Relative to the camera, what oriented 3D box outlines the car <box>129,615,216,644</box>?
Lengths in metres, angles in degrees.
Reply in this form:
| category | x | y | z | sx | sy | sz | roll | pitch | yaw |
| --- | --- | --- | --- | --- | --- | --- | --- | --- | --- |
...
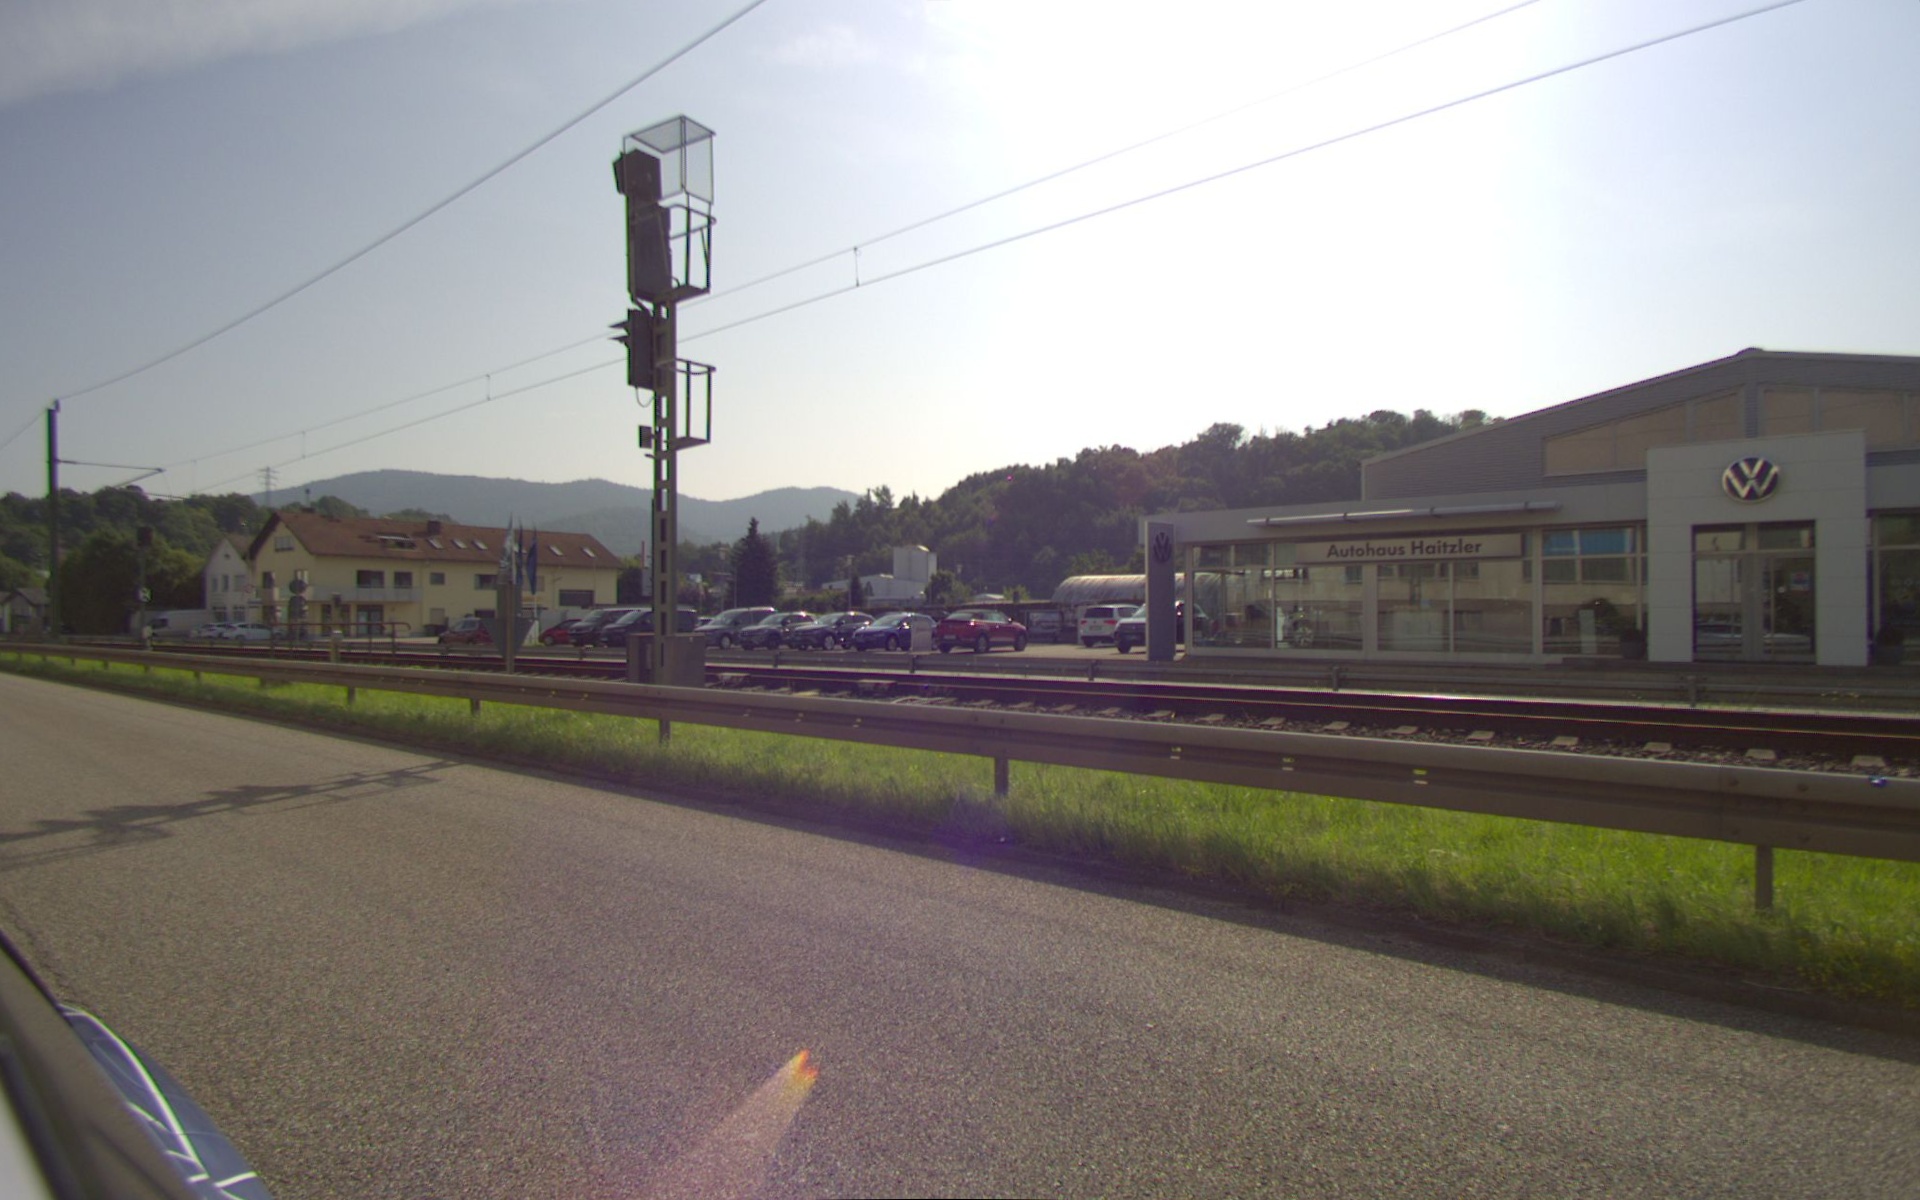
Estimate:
| category | x | y | z | sx | sy | sz | roll | pitch | yaw |
| --- | --- | --- | --- | --- | --- | --- | --- | --- | --- |
| car | -67.701 | 2.486 | 87.112 | 2.233 | 2.435 | 5.520 | -1 | -1 | 37 |

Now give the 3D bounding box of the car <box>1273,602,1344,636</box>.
| category | x | y | z | sx | sy | sz | roll | pitch | yaw |
| --- | --- | --- | --- | --- | --- | --- | --- | --- | --- |
| car | 15.073 | 0.826 | 43.689 | 1.857 | 1.385 | 3.952 | -1 | -2 | 35 |

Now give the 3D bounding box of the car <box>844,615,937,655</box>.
| category | x | y | z | sx | sy | sz | roll | pitch | yaw |
| --- | --- | --- | --- | --- | --- | --- | --- | --- | --- |
| car | -2.623 | 1.332 | 39.088 | 1.753 | 1.471 | 3.960 | -1 | -2 | 29 |

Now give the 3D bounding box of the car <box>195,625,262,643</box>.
| category | x | y | z | sx | sy | sz | roll | pitch | yaw |
| --- | --- | --- | --- | --- | --- | --- | --- | --- | --- |
| car | -55.347 | 2.555 | 76.629 | 1.645 | 1.309 | 3.813 | -1 | -1 | 35 |

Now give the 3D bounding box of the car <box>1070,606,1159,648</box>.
| category | x | y | z | sx | sy | sz | roll | pitch | yaw |
| --- | --- | --- | --- | --- | --- | --- | --- | --- | --- |
| car | 6.246 | 1.052 | 40.642 | 1.995 | 1.593 | 3.953 | -1 | -1 | 34 |

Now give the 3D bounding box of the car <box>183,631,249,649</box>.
| category | x | y | z | sx | sy | sz | roll | pitch | yaw |
| --- | --- | --- | --- | --- | --- | --- | --- | --- | --- |
| car | -57.548 | 3.058 | 78.357 | 1.645 | 1.309 | 3.813 | -1 | -1 | 35 |

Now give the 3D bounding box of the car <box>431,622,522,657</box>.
| category | x | y | z | sx | sy | sz | roll | pitch | yaw |
| --- | --- | --- | --- | --- | --- | --- | --- | --- | --- |
| car | -21.010 | 1.700 | 43.961 | 3.989 | 1.471 | 1.839 | -1 | -2 | 34 |

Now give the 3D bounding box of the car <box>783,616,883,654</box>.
| category | x | y | z | sx | sy | sz | roll | pitch | yaw |
| --- | --- | --- | --- | --- | --- | --- | --- | --- | --- |
| car | -5.130 | 1.396 | 41.200 | 1.759 | 1.471 | 3.947 | -2 | -2 | 40 |

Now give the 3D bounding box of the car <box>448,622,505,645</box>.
| category | x | y | z | sx | sy | sz | roll | pitch | yaw |
| --- | --- | --- | --- | --- | --- | --- | --- | --- | --- |
| car | -34.098 | 2.352 | 71.360 | 3.486 | 1.588 | 1.654 | 1 | -2 | -30 |

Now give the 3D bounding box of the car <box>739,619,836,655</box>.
| category | x | y | z | sx | sy | sz | roll | pitch | yaw |
| --- | --- | --- | --- | --- | --- | --- | --- | --- | --- |
| car | -7.343 | 1.566 | 43.391 | 1.759 | 1.471 | 3.947 | -2 | -2 | 40 |

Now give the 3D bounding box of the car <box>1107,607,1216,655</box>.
| category | x | y | z | sx | sy | sz | roll | pitch | yaw |
| --- | --- | --- | --- | --- | --- | --- | --- | --- | --- |
| car | 6.680 | 1.002 | 33.265 | 1.859 | 1.471 | 3.947 | -2 | -2 | 39 |

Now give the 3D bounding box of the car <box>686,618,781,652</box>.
| category | x | y | z | sx | sy | sz | roll | pitch | yaw |
| --- | --- | --- | --- | --- | --- | --- | --- | --- | --- |
| car | -10.169 | 1.560 | 45.566 | 1.759 | 1.471 | 3.947 | -2 | -2 | 40 |

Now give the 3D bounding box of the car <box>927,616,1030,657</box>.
| category | x | y | z | sx | sy | sz | roll | pitch | yaw |
| --- | --- | --- | --- | --- | --- | --- | --- | --- | --- |
| car | 0.734 | 1.280 | 36.406 | 1.856 | 1.385 | 3.953 | -1 | -2 | 34 |

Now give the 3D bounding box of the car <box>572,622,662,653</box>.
| category | x | y | z | sx | sy | sz | roll | pitch | yaw |
| --- | --- | --- | --- | --- | --- | --- | --- | --- | --- |
| car | -17.175 | 1.847 | 50.747 | 1.759 | 1.471 | 3.947 | -2 | -2 | 40 |

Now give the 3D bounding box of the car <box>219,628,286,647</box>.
| category | x | y | z | sx | sy | sz | roll | pitch | yaw |
| --- | --- | --- | --- | --- | --- | --- | --- | --- | --- |
| car | -52.736 | 2.763 | 75.473 | 1.645 | 1.309 | 3.813 | -1 | -1 | 35 |
